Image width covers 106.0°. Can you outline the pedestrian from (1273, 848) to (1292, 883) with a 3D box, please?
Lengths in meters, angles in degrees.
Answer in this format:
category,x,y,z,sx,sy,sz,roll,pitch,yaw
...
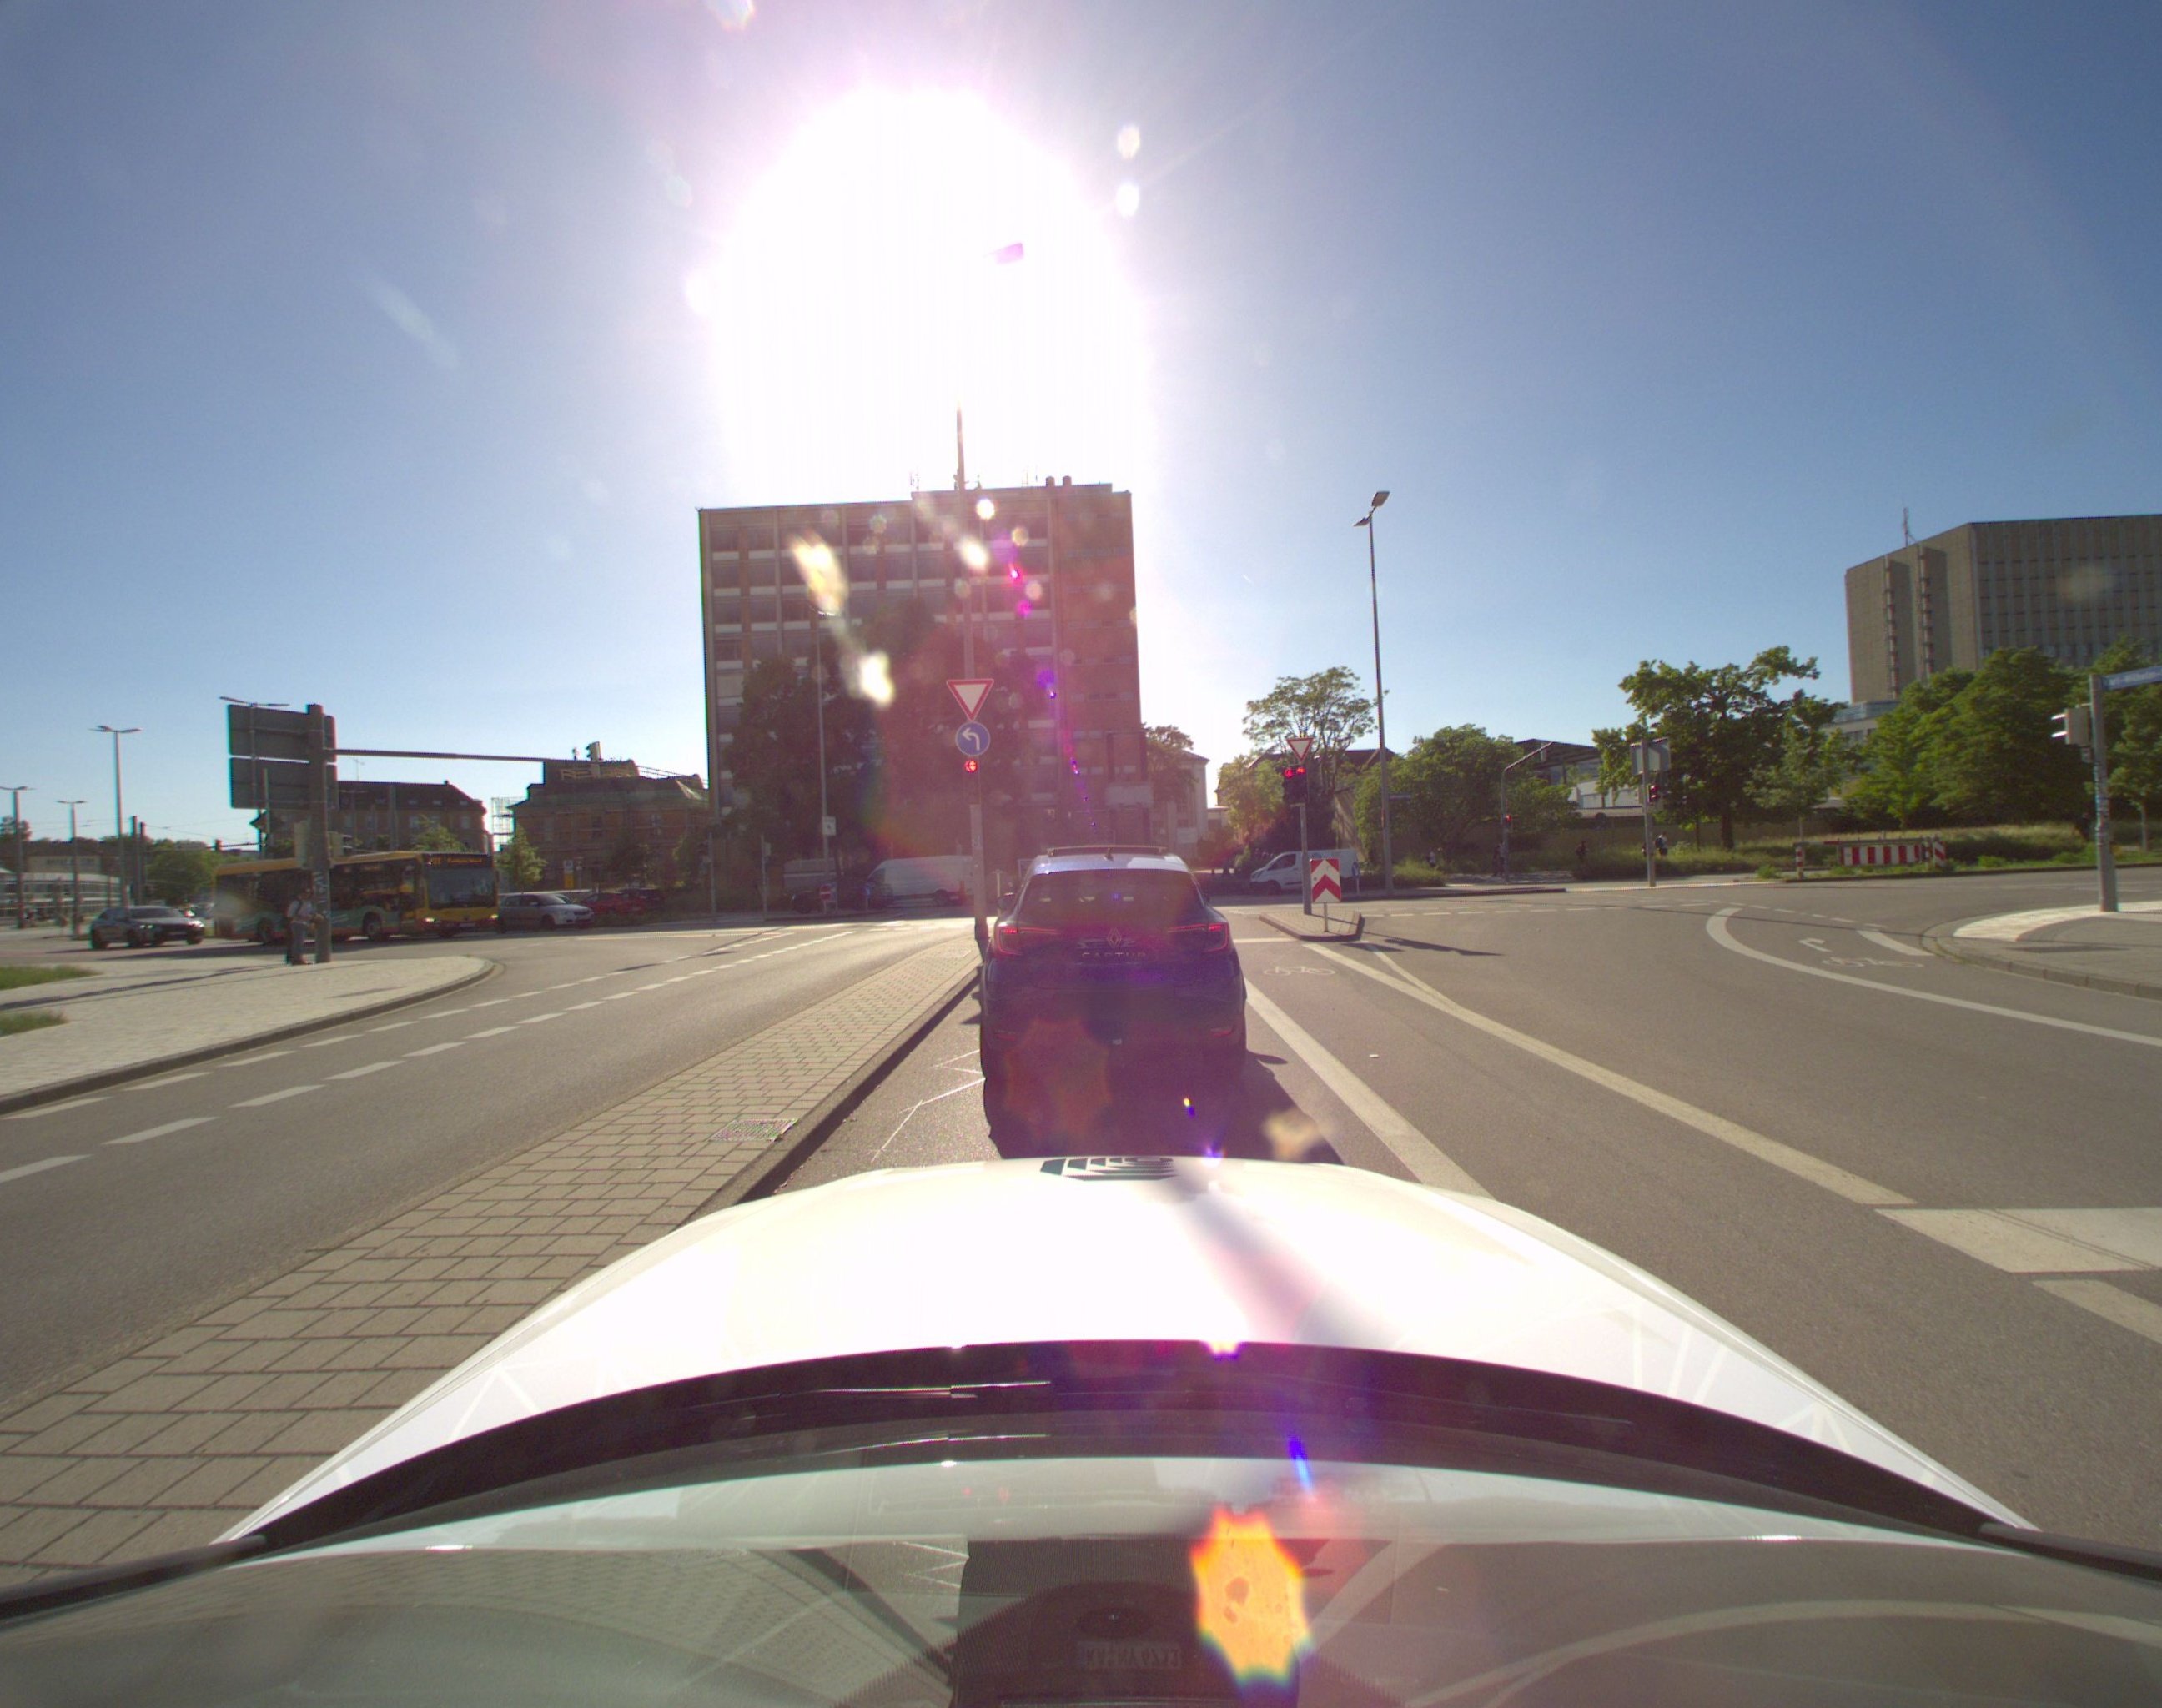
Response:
category,x,y,z,sx,sy,sz,roll,pitch,yaw
pedestrian,11.091,0.640,44.804,0.926,1.855,0.809,-3,-1,11

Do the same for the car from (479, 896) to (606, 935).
category,x,y,z,sx,sy,sz,roll,pitch,yaw
car,-20.594,2.352,31.219,3.818,1.403,1.898,-1,-3,12

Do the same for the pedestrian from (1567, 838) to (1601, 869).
category,x,y,z,sx,sy,sz,roll,pitch,yaw
pedestrian,25.913,-0.028,41.947,1.140,1.521,0.944,-2,0,7

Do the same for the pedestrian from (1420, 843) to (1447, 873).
category,x,y,z,sx,sy,sz,roll,pitch,yaw
pedestrian,18.513,0.199,42.776,1.078,1.521,0.933,-2,-1,11

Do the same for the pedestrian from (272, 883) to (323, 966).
category,x,y,z,sx,sy,sz,roll,pitch,yaw
pedestrian,-18.144,1.613,18.866,0.673,1.855,0.608,-3,-1,25

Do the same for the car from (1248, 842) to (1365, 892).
category,x,y,z,sx,sy,sz,roll,pitch,yaw
car,10.217,0.600,37.337,4.966,2.013,2.079,-3,0,11

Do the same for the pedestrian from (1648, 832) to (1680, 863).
category,x,y,z,sx,sy,sz,roll,pitch,yaw
pedestrian,29.655,-0.307,41.461,0.966,1.521,0.887,-2,-1,5

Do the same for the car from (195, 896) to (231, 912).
category,x,y,z,sx,sy,sz,roll,pitch,yaw
car,-94.826,5.470,88.983,3.948,1.582,2.013,-1,-1,33

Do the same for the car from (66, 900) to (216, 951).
category,x,y,z,sx,sy,sz,roll,pitch,yaw
car,-40.041,3.040,34.722,4.697,1.861,2.011,-3,0,10

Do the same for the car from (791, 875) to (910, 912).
category,x,y,z,sx,sy,sz,roll,pitch,yaw
car,-10.787,1.864,38.213,4.995,1.673,2.006,-1,-3,12

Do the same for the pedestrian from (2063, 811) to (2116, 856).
category,x,y,z,sx,sy,sz,roll,pitch,yaw
pedestrian,48.116,-0.977,38.862,1.181,2.079,0.983,-2,-1,5

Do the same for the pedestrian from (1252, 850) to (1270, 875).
category,x,y,z,sx,sy,sz,roll,pitch,yaw
pedestrian,14.460,0.677,65.344,1.152,2.013,1.165,-2,-1,2

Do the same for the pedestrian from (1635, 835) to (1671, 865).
category,x,y,z,sx,sy,sz,roll,pitch,yaw
pedestrian,29.685,-0.203,42.272,1.123,1.521,0.992,-2,0,5

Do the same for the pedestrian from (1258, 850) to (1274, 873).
category,x,y,z,sx,sy,sz,roll,pitch,yaw
pedestrian,14.233,0.566,62.571,0.949,1.741,0.984,-2,-1,2

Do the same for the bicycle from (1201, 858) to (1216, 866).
category,x,y,z,sx,sy,sz,roll,pitch,yaw
bicycle,15.567,1.013,99.379,1.764,0.893,0.766,-2,0,2

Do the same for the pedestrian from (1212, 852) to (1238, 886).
category,x,y,z,sx,sy,sz,roll,pitch,yaw
pedestrian,8.169,0.848,46.187,1.288,1.855,0.969,-3,-1,13

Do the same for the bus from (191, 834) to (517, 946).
category,x,y,z,sx,sy,sz,roll,pitch,yaw
bus,-26.955,1.378,30.083,12.320,3.570,3.266,-3,-1,19

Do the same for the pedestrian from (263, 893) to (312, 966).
category,x,y,z,sx,sy,sz,roll,pitch,yaw
pedestrian,-19.134,1.813,19.644,0.627,1.697,0.608,-3,-1,25

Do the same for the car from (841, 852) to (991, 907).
category,x,y,z,sx,sy,sz,roll,pitch,yaw
car,-8.540,1.303,42.317,6.882,2.547,3.026,-3,0,16

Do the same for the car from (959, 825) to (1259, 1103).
category,x,y,z,sx,sy,sz,roll,pitch,yaw
car,0.203,0.662,6.847,1.788,1.655,3.854,-1,0,1

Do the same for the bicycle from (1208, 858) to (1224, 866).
category,x,y,z,sx,sy,sz,roll,pitch,yaw
bicycle,15.711,0.962,95.009,1.764,0.898,0.766,-2,0,2

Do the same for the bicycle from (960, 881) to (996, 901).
category,x,y,z,sx,sy,sz,roll,pitch,yaw
bicycle,-5.647,2.035,44.723,0.691,1.007,1.880,-6,-4,42

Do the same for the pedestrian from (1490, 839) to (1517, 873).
category,x,y,z,sx,sy,sz,roll,pitch,yaw
pedestrian,22.243,0.098,42.907,0.958,1.732,0.927,-2,-1,6

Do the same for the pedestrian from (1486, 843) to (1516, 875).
category,x,y,z,sx,sy,sz,roll,pitch,yaw
pedestrian,21.202,0.248,41.147,1.069,1.521,0.880,-2,-1,6

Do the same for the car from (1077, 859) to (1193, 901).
category,x,y,z,sx,sy,sz,roll,pitch,yaw
car,2.426,1.138,35.851,4.811,1.582,2.108,-3,0,11

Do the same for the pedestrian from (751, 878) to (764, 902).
category,x,y,z,sx,sy,sz,roll,pitch,yaw
pedestrian,-21.637,2.426,54.469,0.528,1.571,0.559,-3,-1,26

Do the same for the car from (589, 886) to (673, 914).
category,x,y,z,sx,sy,sz,roll,pitch,yaw
car,-26.796,2.737,48.535,4.013,1.439,2.075,-3,0,17

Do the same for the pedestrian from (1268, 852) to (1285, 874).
category,x,y,z,sx,sy,sz,roll,pitch,yaw
pedestrian,14.888,0.672,62.056,0.932,1.613,1.176,-2,0,2

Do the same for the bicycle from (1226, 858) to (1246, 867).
category,x,y,z,sx,sy,sz,roll,pitch,yaw
bicycle,15.820,0.863,83.197,1.770,0.823,0.763,-2,0,-9

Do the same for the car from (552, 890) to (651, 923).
category,x,y,z,sx,sy,sz,roll,pitch,yaw
car,-24.760,2.710,42.107,4.015,1.439,2.074,-3,0,14
